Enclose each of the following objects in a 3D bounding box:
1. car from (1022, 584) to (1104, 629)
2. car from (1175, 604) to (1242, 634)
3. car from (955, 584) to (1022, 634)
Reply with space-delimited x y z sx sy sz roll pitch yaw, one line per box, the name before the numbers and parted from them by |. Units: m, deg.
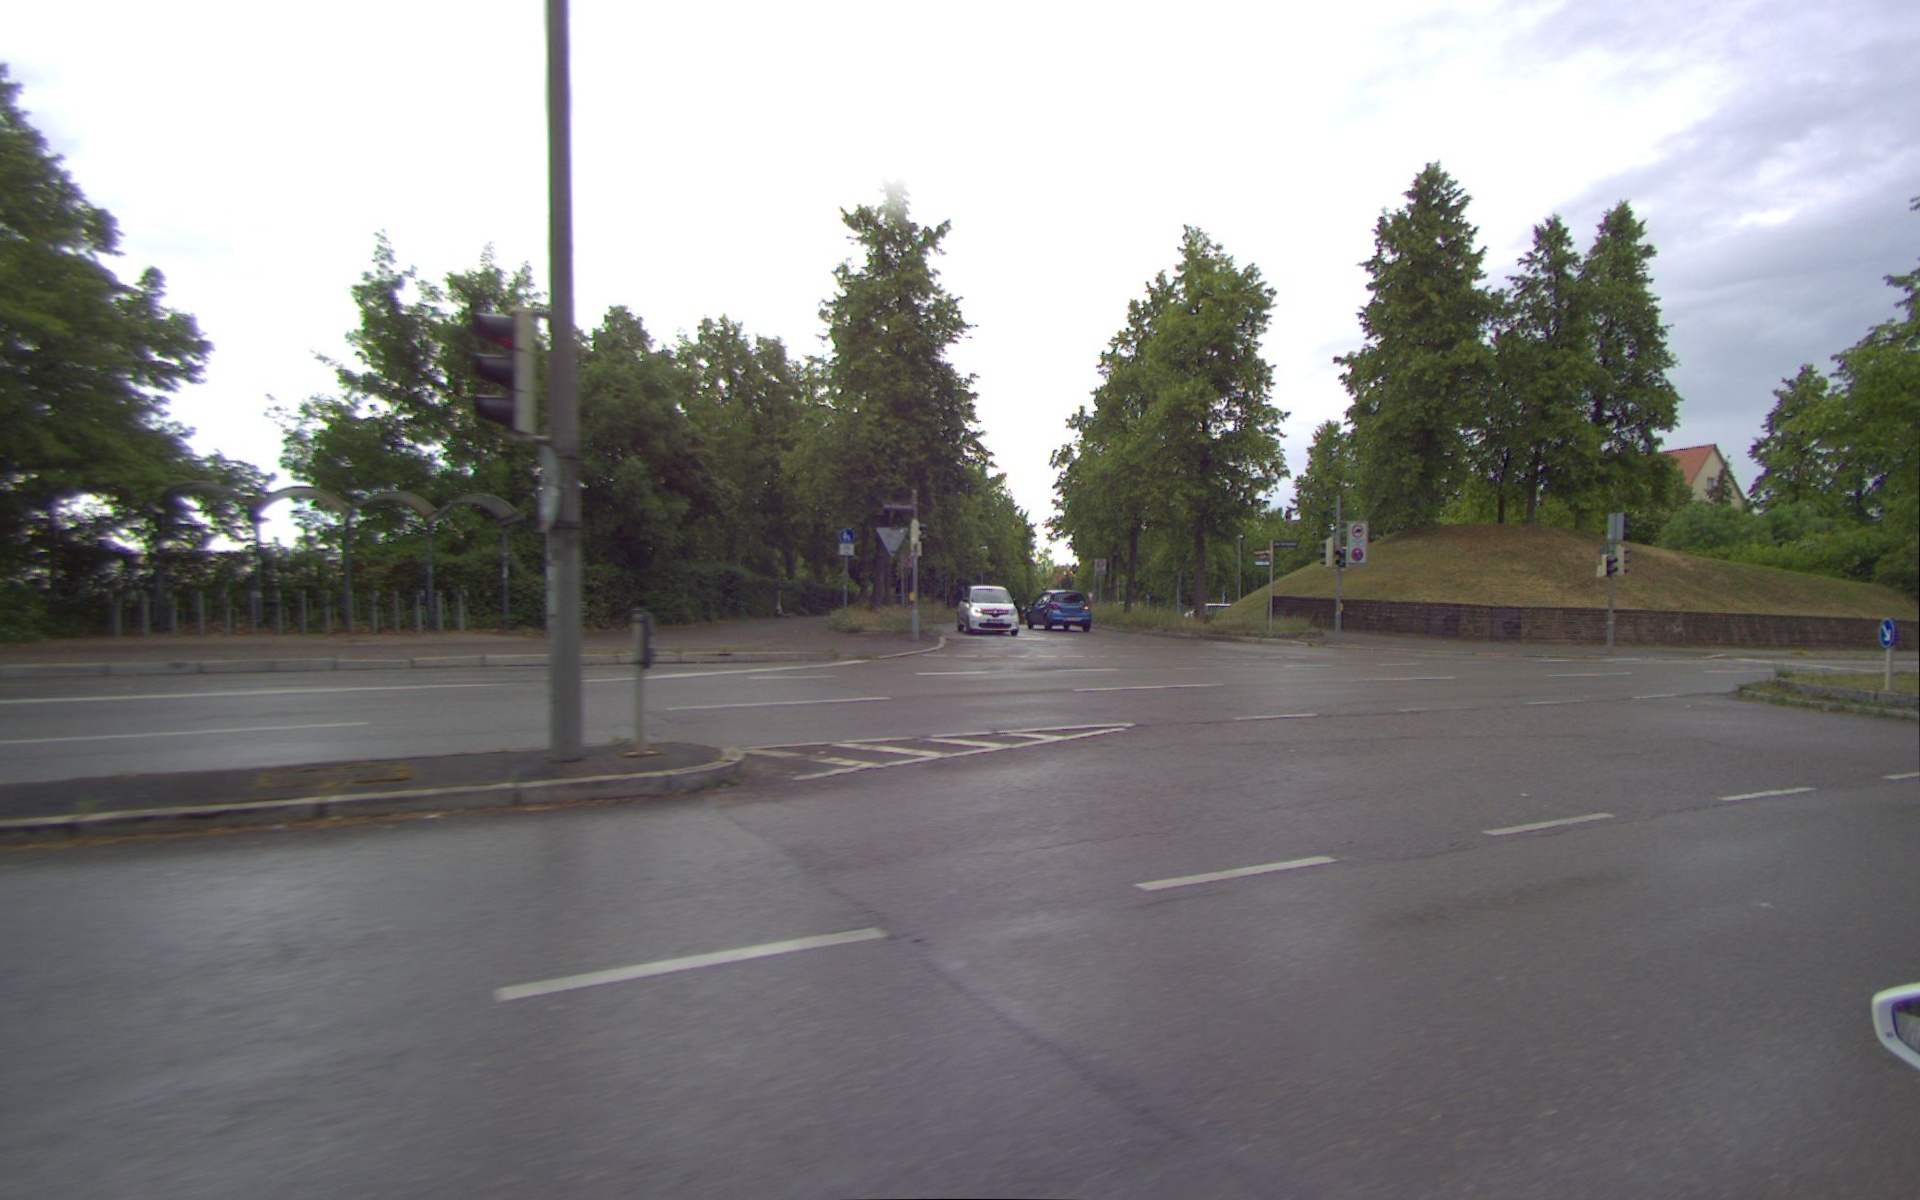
car | 3.797 0.203 37.796 1.965 1.510 3.928 1 1 -11
car | 17.037 1.261 68.879 3.935 1.877 1.993 2 1 36
car | 0.899 0.262 33.207 1.728 1.498 3.694 2 1 -5
